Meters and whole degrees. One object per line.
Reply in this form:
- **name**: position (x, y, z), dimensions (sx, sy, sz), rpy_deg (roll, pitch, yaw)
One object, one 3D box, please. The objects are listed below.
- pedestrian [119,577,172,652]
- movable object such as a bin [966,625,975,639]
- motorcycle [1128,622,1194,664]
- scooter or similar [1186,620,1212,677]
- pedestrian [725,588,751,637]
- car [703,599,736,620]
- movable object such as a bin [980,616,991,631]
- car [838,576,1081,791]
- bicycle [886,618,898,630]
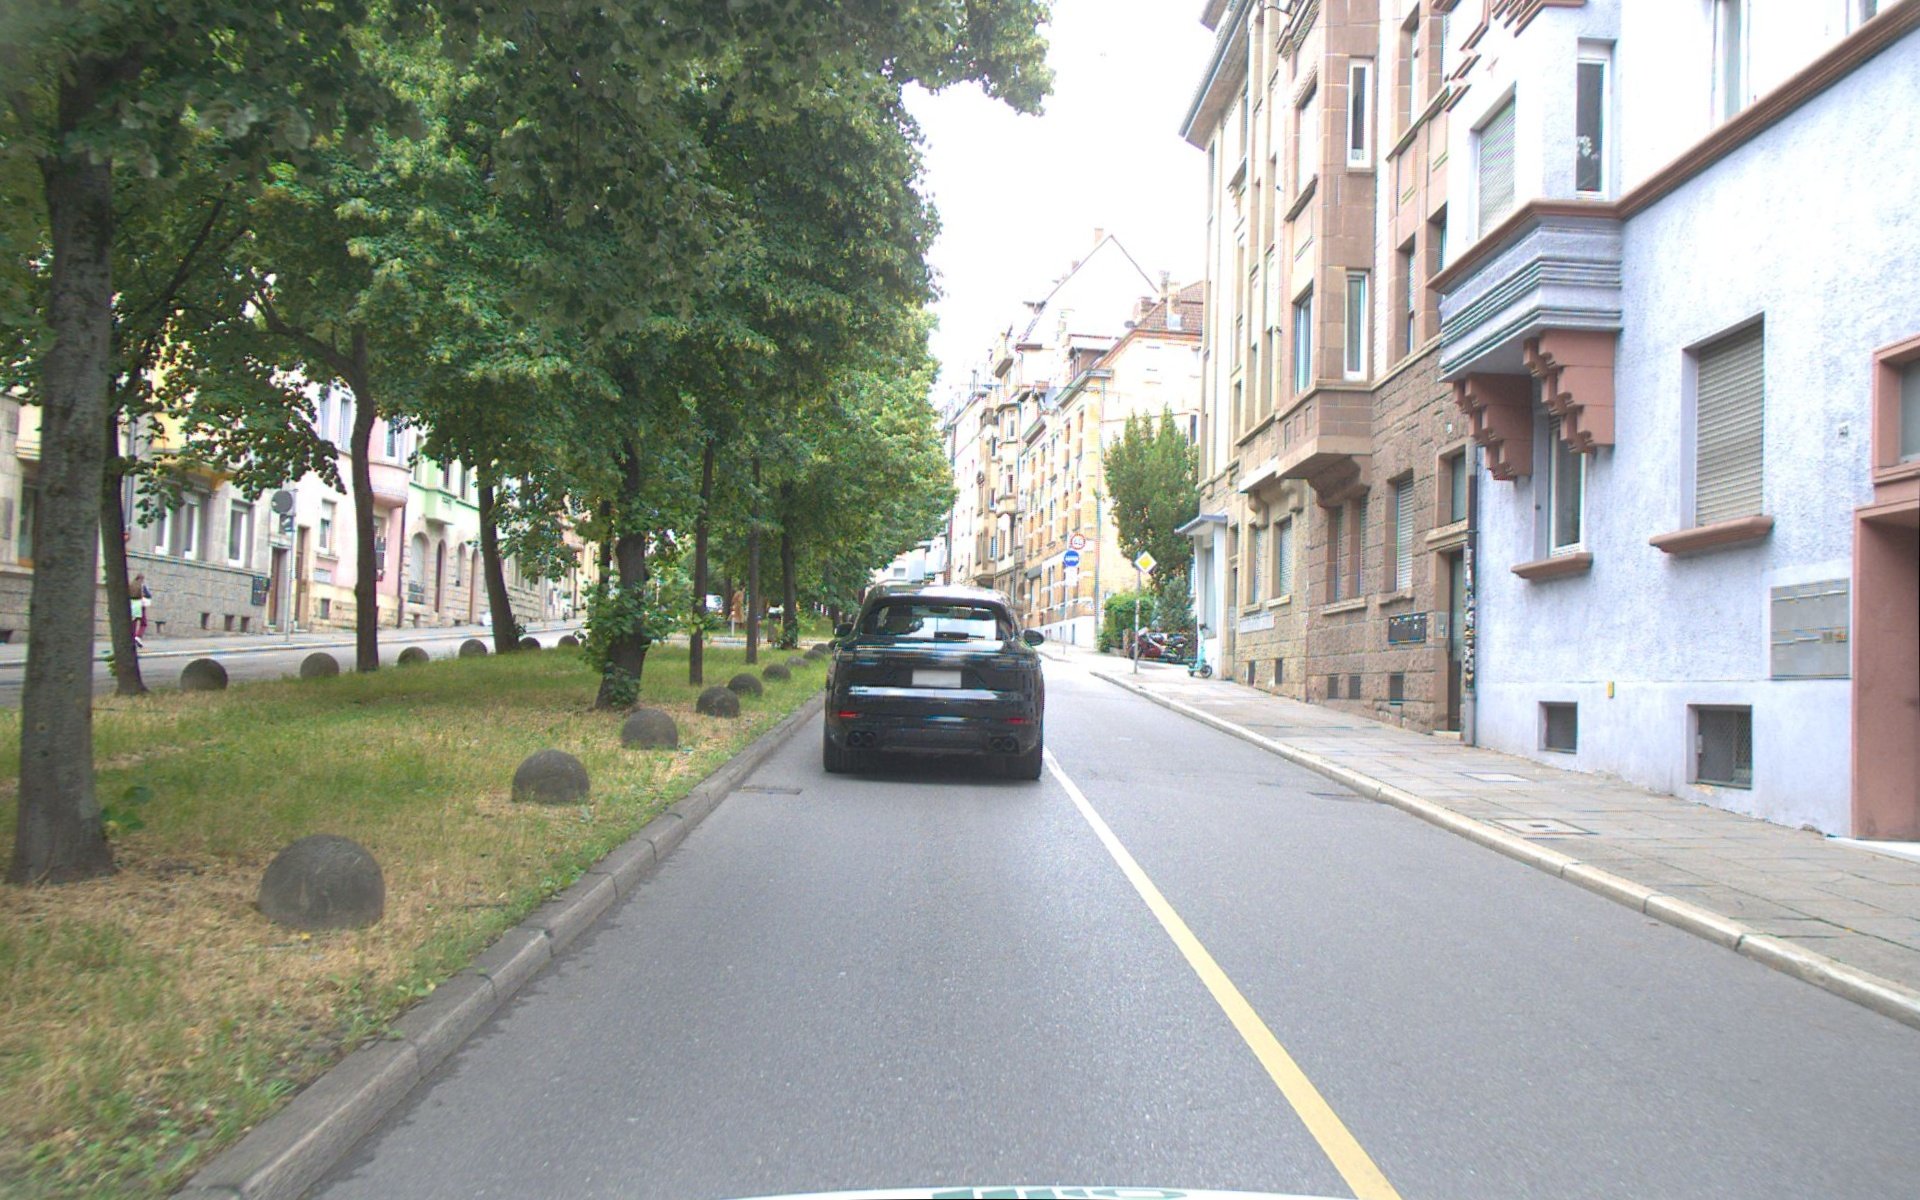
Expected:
- **pedestrian**: position (-16.705, 0.300, 33.942), dimensions (0.684, 1.486, 0.704), rpy_deg (3, 0, -1)
- **movable object such as a bin**: position (0.742, 2.209, 115.793), dimensions (0.583, 0.920, 0.502), rpy_deg (3, -5, -6)
- **motorcycle**: position (6.897, 1.469, 56.725), dimensions (2.016, 1.290, 1.009), rpy_deg (4, -1, -6)
- **scooter or similar**: position (5.536, 1.106, 38.351), dimensions (0.401, 1.231, 1.145), rpy_deg (0, 2, -1)
- **pedestrian**: position (-8.173, 0.451, 60.872), dimensions (0.816, 1.742, 1.122), rpy_deg (-1, -3, -1)
- **car**: position (-17.261, 0.666, 118.873), dimensions (1.673, 1.406, 4.668), rpy_deg (0, 0, 0)
- **movable object such as a bin**: position (1.658, 1.511, 107.542), dimensions (0.583, 0.920, 0.562), rpy_deg (3, -1, -6)
- **car**: position (-0.103, 0.689, 15.751), dimensions (1.954, 1.694, 3.998), rpy_deg (3, 0, -3)
- **bicycle**: position (-6.890, 2.445, 167.033), dimensions (0.863, 1.149, 2.973), rpy_deg (3, -3, -9)
